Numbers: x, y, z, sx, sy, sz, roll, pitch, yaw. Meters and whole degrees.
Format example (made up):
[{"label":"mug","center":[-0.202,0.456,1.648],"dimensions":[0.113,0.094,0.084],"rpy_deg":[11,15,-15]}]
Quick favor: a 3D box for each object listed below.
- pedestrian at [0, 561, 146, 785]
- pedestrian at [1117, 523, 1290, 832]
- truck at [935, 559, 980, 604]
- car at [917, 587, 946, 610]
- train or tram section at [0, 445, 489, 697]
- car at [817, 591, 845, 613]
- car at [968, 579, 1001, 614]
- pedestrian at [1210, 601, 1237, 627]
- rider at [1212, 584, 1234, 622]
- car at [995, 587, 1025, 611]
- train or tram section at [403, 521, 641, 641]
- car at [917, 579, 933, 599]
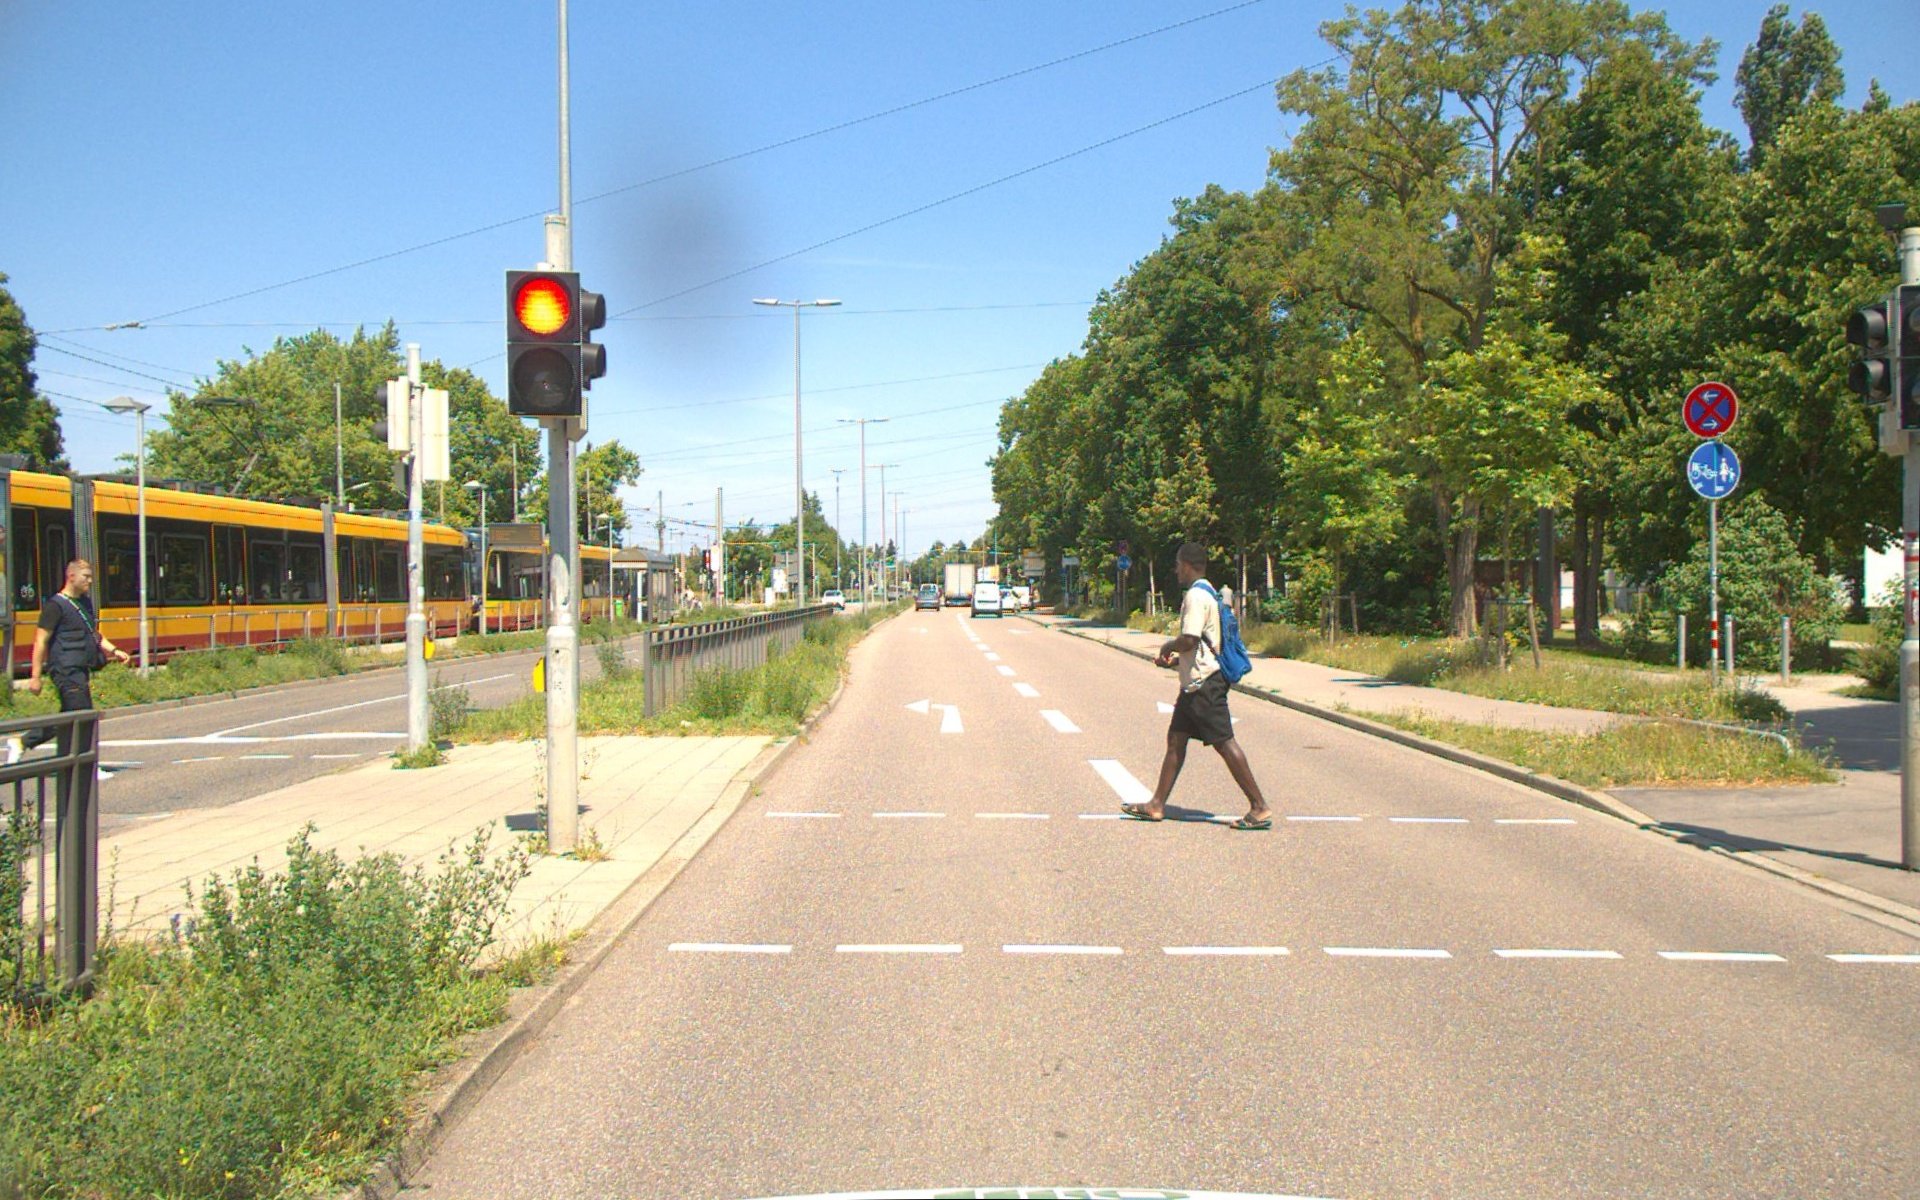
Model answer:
[{"label":"pedestrian","center":[-7.531,0.596,14.040],"dimensions":[0.939,1.828,0.704],"rpy_deg":[0,0,28]},{"label":"pedestrian","center":[1.569,0.469,10.566],"dimensions":[1.024,1.882,0.758],"rpy_deg":[0,0,13]},{"label":"truck","center":[-0.291,-1.629,149.097],"dimensions":[3.820,3.879,10.790],"rpy_deg":[0,0,-1]},{"label":"car","center":[-1.919,-0.135,112.410],"dimensions":[1.764,1.512,4.001],"rpy_deg":[0,0,1]},{"label":"train or tram section","center":[-15.712,-0.479,32.544],"dimensions":[2.731,3.732,37.511],"rpy_deg":[0,0,-1]},{"label":"car","center":[-10.083,0.109,129.837],"dimensions":[1.953,1.679,3.999],"rpy_deg":[0,0,-1]},{"label":"car","center":[1.349,-0.208,90.491],"dimensions":[1.692,1.845,4.001],"rpy_deg":[1,1,2]},{"label":"pedestrian","center":[9.207,0.477,57.841],"dimensions":[0.664,0.862,1.773],"rpy_deg":[0,0,-1]},{"label":"rider","center":[9.198,0.099,57.840],"dimensions":[0.664,1.304,0.533],"rpy_deg":[0,0,-1]},{"label":"car","center":[3.295,-0.088,109.427],"dimensions":[1.767,1.567,3.999],"rpy_deg":[0,0,-1]},{"label":"train or tram section","center":[-16.087,-0.679,64.309],"dimensions":[2.731,3.732,25.994],"rpy_deg":[0,0,-1]},{"label":"car","center":[-3.485,-1.100,164.849],"dimensions":[1.653,1.930,3.869],"rpy_deg":[0,0,-1]}]
